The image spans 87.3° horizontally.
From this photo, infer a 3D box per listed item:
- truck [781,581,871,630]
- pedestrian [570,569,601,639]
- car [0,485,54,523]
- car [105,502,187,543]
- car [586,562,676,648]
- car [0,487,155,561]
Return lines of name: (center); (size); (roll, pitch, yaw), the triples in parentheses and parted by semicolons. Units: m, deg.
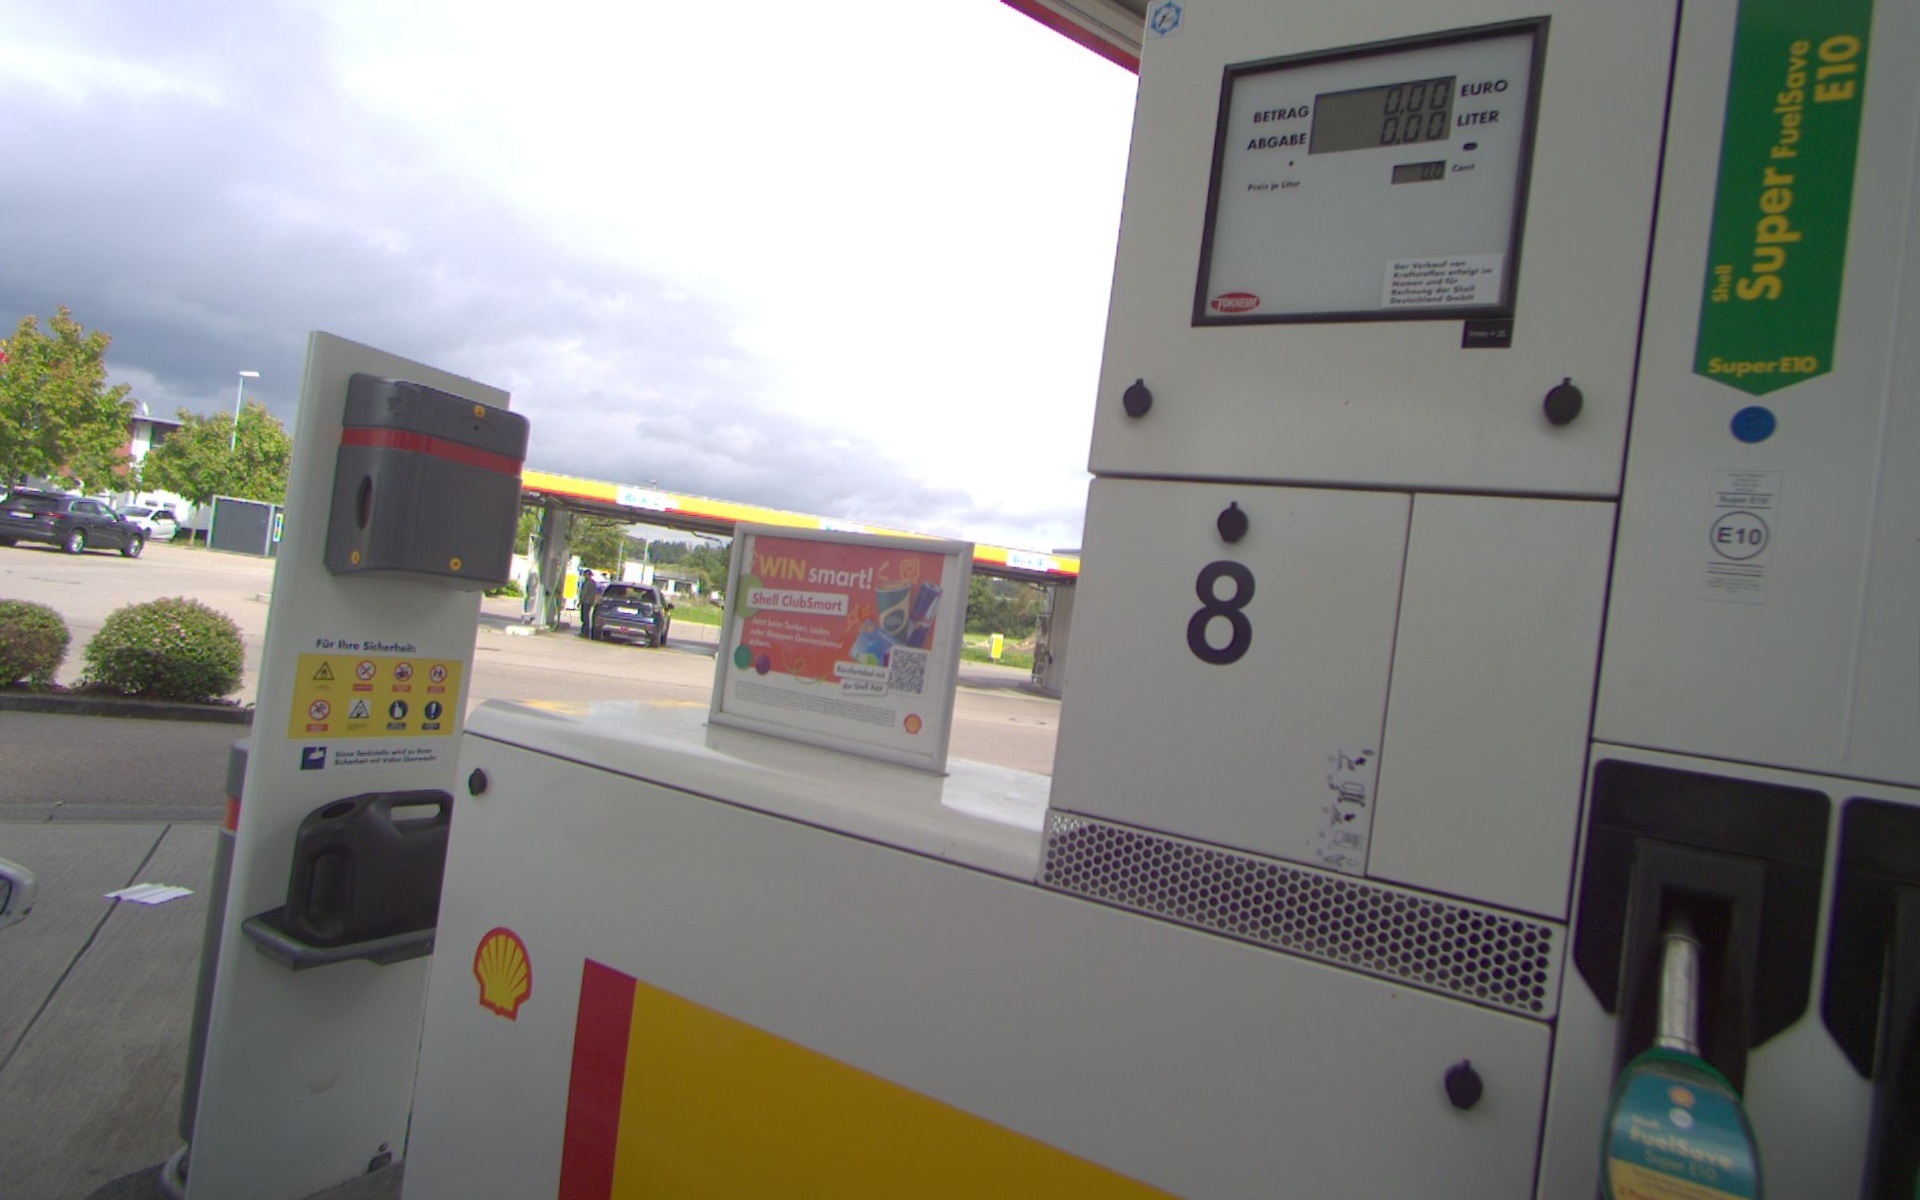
truck: (-13.014, 0.559, 97.525); (7.978, 3.575, 2.687); (8, -2, -19)
pedestrian: (-9.734, 0.096, 26.121); (0.550, 1.742, 0.526); (7, -1, -21)
car: (-57.362, -5.900, 60.264); (2.149, 1.854, 4.870); (8, -2, -11)
car: (-35.263, -3.338, 43.667); (1.346, 1.322, 3.098); (8, -2, -12)
car: (-8.702, 0.150, 26.880); (1.696, 1.919, 3.800); (8, -2, -12)
car: (-25.934, -2.167, 29.280); (1.855, 1.566, 4.498); (8, -2, -10)
